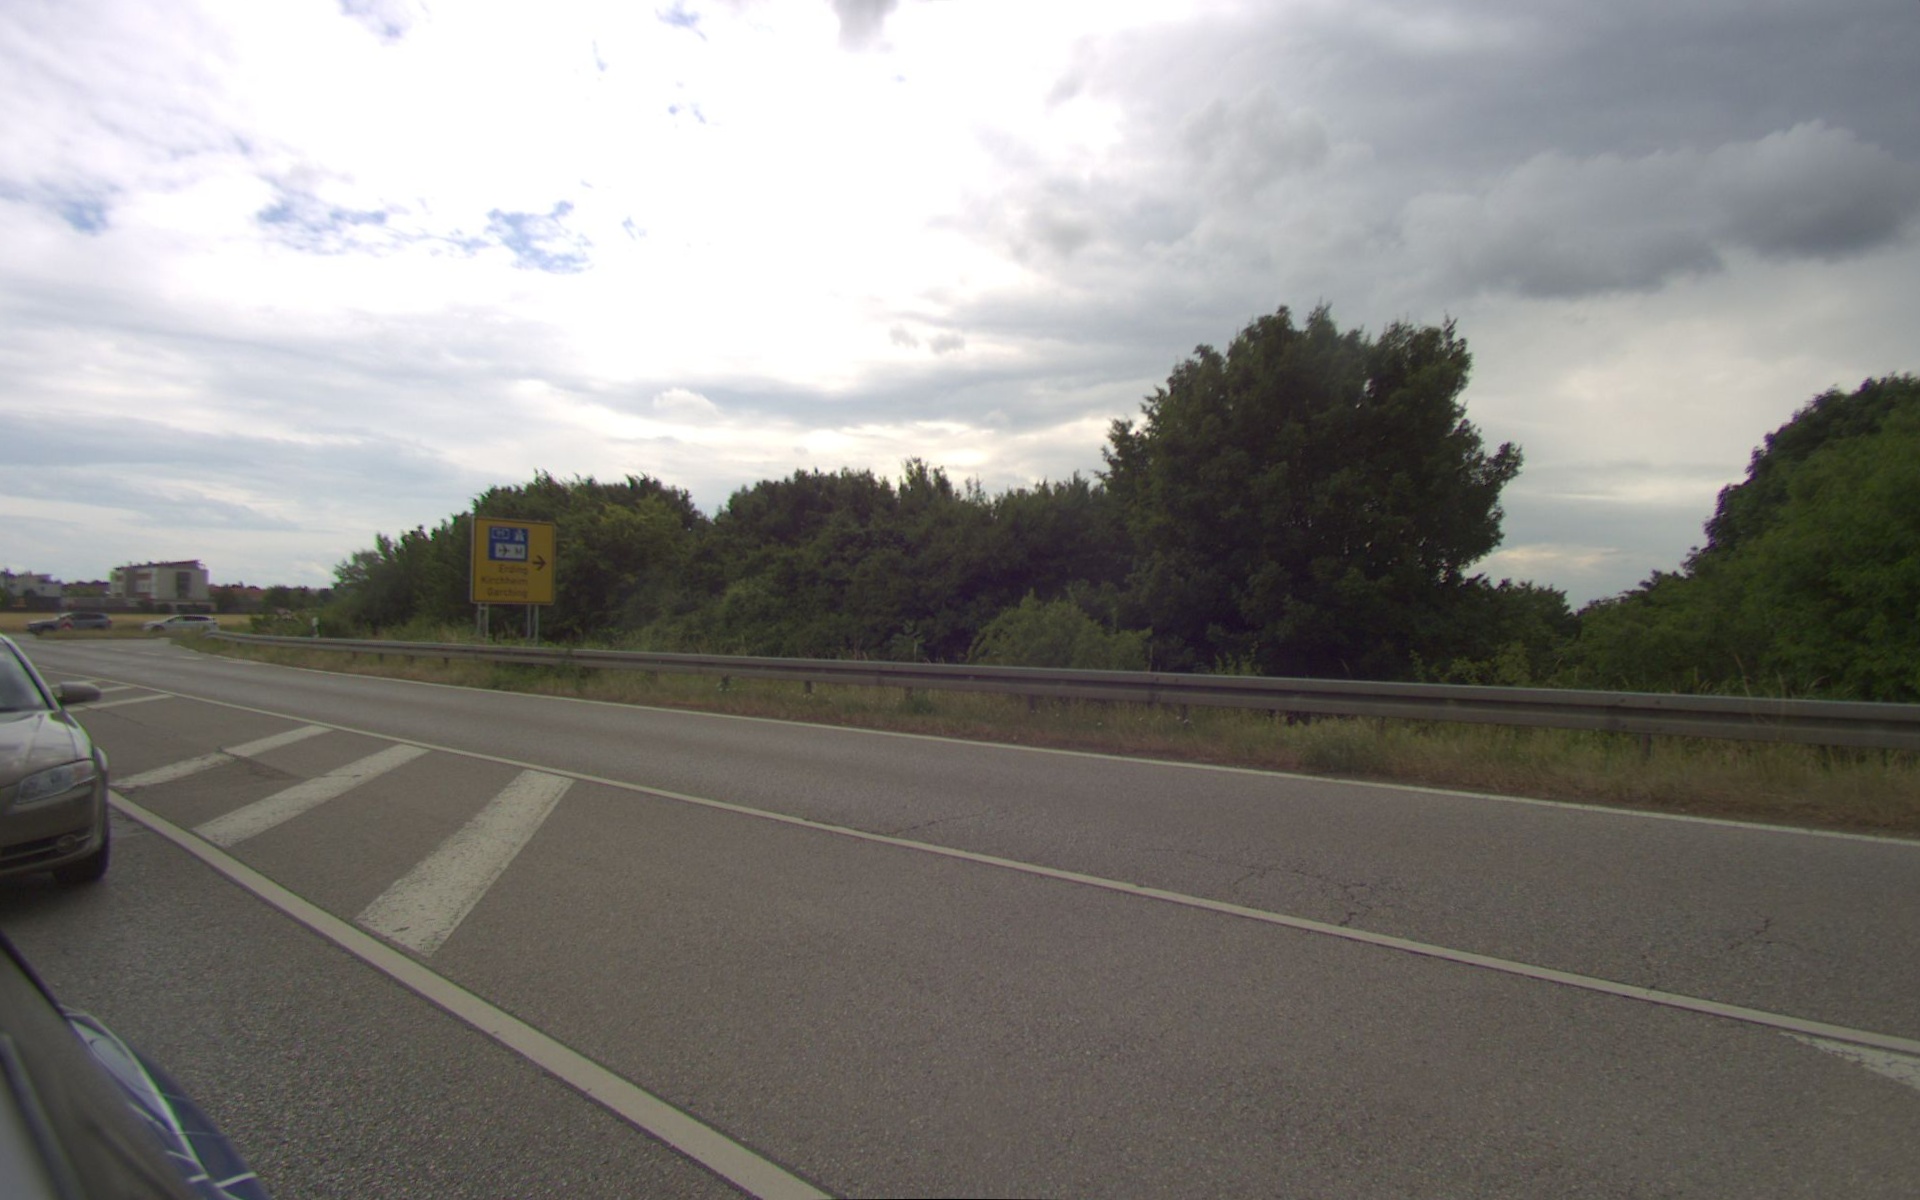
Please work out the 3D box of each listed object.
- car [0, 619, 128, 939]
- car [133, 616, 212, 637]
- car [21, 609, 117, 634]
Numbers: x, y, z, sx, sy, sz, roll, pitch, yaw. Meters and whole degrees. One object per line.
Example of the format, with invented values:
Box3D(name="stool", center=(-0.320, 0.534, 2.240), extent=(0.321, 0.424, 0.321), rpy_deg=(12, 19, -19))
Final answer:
Box3D(name="car", center=(-6.224, 0.839, 5.687), extent=(4.202, 1.455, 1.708), rpy_deg=(-1, -1, 41))
Box3D(name="car", center=(-59.049, 1.982, 75.896), extent=(4.605, 1.510, 2.003), rpy_deg=(1, -1, -40))
Box3D(name="car", center=(-62.818, 1.482, 71.418), extent=(1.997, 1.702, 4.757), rpy_deg=(-1, -1, 37))
